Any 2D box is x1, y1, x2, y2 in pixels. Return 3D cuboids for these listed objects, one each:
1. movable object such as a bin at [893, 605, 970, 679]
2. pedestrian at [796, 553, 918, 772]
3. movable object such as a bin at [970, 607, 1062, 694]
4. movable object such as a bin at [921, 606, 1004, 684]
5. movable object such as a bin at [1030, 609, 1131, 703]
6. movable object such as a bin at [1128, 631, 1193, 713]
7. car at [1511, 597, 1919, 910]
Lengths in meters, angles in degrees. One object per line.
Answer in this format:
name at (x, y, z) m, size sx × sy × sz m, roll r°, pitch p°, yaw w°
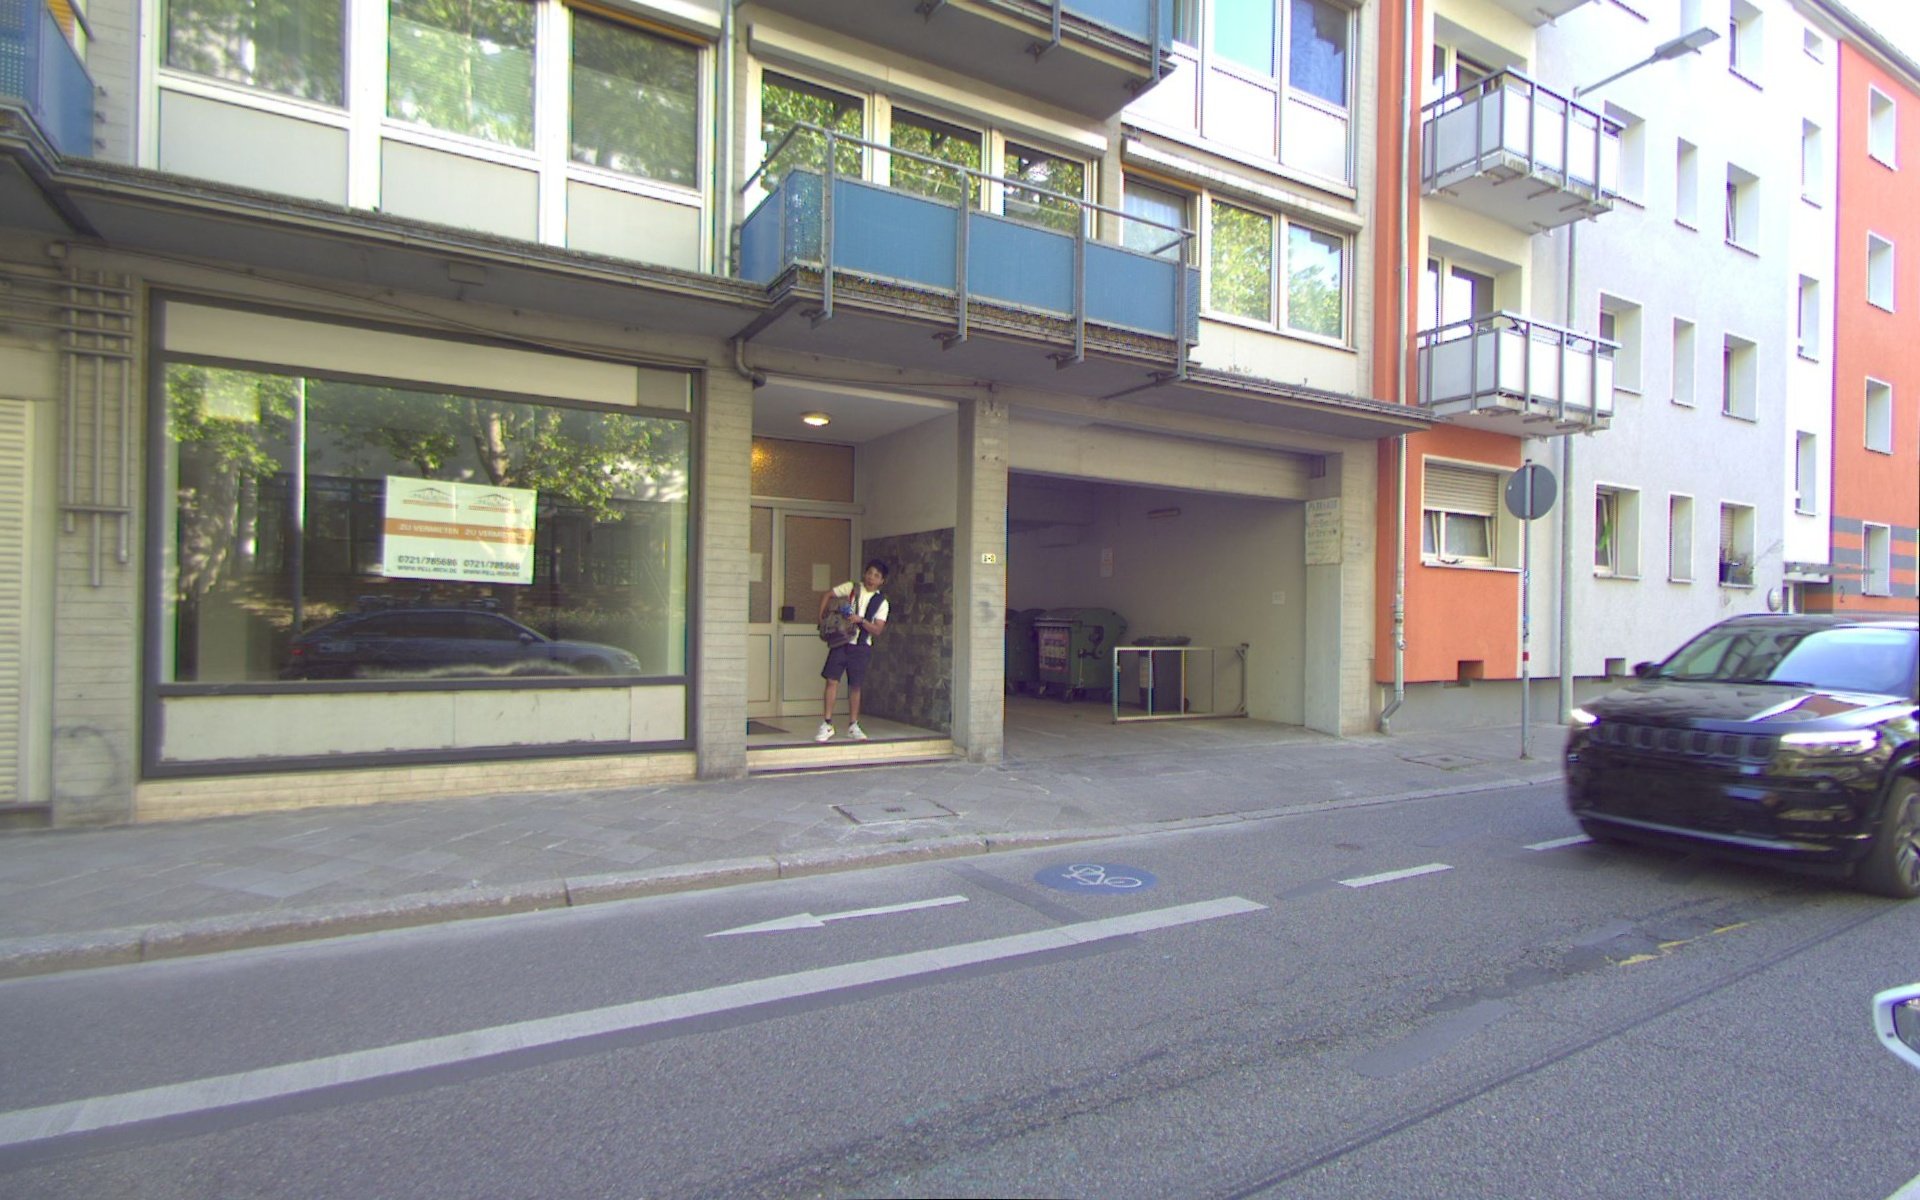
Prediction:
movable object such as a bin at (-0.580, 0.808, 19.868) m, size 1.066 × 1.384 × 1.255 m, roll 2°, pitch 0°, yaw -27°
pedestrian at (-0.956, 0.551, 9.258) m, size 0.882 × 1.902 × 0.703 m, roll 2°, pitch 0°, yaw -28°
movable object such as a bin at (0.940, 0.842, 17.130) m, size 1.066 × 1.384 × 1.255 m, roll 2°, pitch 0°, yaw -27°
movable object such as a bin at (0.029, 0.822, 18.699) m, size 1.066 × 1.384 × 1.255 m, roll 2°, pitch 0°, yaw -27°
movable object such as a bin at (1.881, 0.865, 15.815) m, size 1.066 × 1.384 × 1.192 m, roll 2°, pitch 0°, yaw -27°
movable object such as a bin at (2.882, 1.025, 14.465) m, size 0.650 × 1.115 × 0.626 m, roll 2°, pitch 0°, yaw -27°
car at (6.043, 0.845, 7.052) m, size 4.334 × 1.591 × 1.841 m, roll 2°, pitch 0°, yaw -30°
